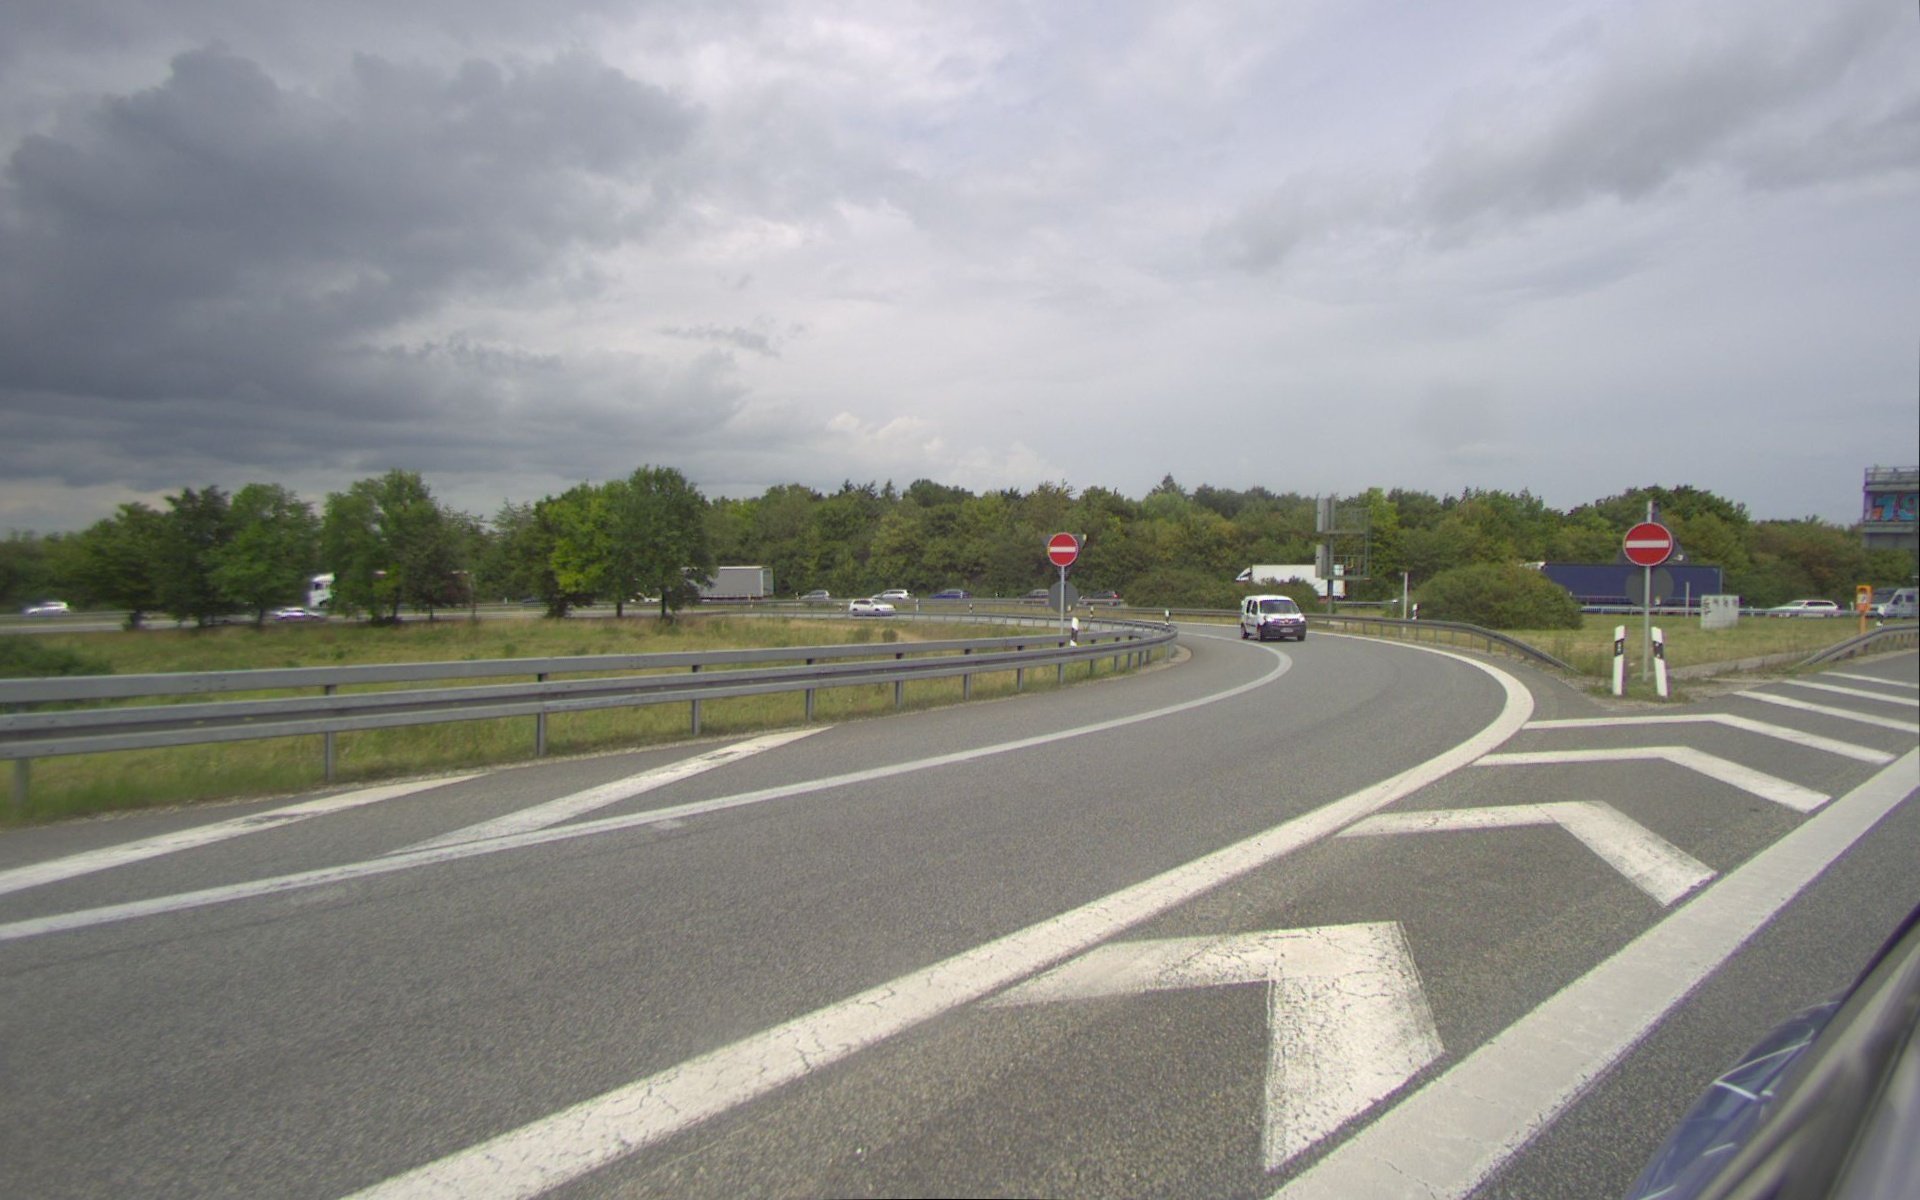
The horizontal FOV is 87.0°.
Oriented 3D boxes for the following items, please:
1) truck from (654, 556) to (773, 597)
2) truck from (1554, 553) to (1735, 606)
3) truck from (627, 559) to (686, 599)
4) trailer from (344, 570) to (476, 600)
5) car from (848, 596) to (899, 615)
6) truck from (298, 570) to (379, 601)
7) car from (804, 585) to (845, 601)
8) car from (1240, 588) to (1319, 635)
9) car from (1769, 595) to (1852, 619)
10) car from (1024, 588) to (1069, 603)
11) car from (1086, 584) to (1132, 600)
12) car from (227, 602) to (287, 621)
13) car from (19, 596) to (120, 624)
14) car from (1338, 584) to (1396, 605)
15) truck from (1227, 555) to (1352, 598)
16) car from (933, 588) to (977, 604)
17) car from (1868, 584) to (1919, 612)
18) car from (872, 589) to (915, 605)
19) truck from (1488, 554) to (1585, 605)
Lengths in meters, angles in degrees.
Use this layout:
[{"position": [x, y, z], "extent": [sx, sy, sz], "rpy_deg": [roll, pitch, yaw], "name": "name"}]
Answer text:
[{"position": [-26.544, -2.454, 108.938], "extent": [12.834, 4.296, 2.681], "rpy_deg": [0, 0, 17], "name": "truck"}, {"position": [52.707, -1.554, 78.155], "extent": [11.582, 3.907, 2.844], "rpy_deg": [0, 0, 5], "name": "truck"}, {"position": [-33.278, -2.243, 110.932], "extent": [5.716, 4.232, 2.680], "rpy_deg": [-1, -1, 17], "name": "truck"}, {"position": [-59.868, -1.660, 110.511], "extent": [12.297, 3.169, 3.270], "rpy_deg": [0, 0, -8], "name": "trailer"}, {"position": [-7.302, 0.425, 85.585], "extent": [4.463, 1.560, 1.701], "rpy_deg": [0, 0, 41], "name": "car"}, {"position": [-67.051, -1.587, 109.328], "extent": [6.796, 3.308, 3.203], "rpy_deg": [0, 0, -11], "name": "truck"}, {"position": [-14.081, -0.726, 105.028], "extent": [3.949, 1.498, 1.693], "rpy_deg": [-1, 0, 20], "name": "car"}, {"position": [12.592, 0.413, 40.104], "extent": [1.828, 1.767, 4.000], "rpy_deg": [-1, 0, 0], "name": "car"}, {"position": [63.942, 0.512, 76.109], "extent": [4.416, 1.807, 1.998], "rpy_deg": [0, 0, 4], "name": "car"}, {"position": [8.197, -0.433, 95.874], "extent": [3.957, 1.468, 1.545], "rpy_deg": [0, 0, 25], "name": "car"}, {"position": [13.615, -0.751, 92.483], "extent": [3.962, 1.418, 1.544], "rpy_deg": [0, 0, 28], "name": "car"}, {"position": [-66.347, 1.100, 95.595], "extent": [4.257, 1.674, 2.039], "rpy_deg": [-1, 0, -21], "name": "car"}, {"position": [-87.884, 0.948, 100.020], "extent": [6.942, 2.602, 2.771], "rpy_deg": [0, 0, -23], "name": "car"}, {"position": [30.650, -0.387, 76.268], "extent": [3.950, 1.569, 1.726], "rpy_deg": [0, 0, 20], "name": "car"}, {"position": [27.608, -1.902, 84.888], "extent": [9.771, 3.446, 2.672], "rpy_deg": [0, 0, 25], "name": "truck"}, {"position": [-0.492, -0.395, 99.011], "extent": [3.950, 1.512, 1.548], "rpy_deg": [0, 0, 21], "name": "car"}, {"position": [72.520, -0.184, 76.879], "extent": [5.831, 2.039, 2.003], "rpy_deg": [0, 0, -8], "name": "car"}, {"position": [-6.774, -0.344, 102.765], "extent": [3.952, 1.576, 1.786], "rpy_deg": [0, 0, 21], "name": "car"}, {"position": [44.824, -1.583, 78.798], "extent": [5.822, 3.851, 2.898], "rpy_deg": [0, 0, 5], "name": "truck"}]
